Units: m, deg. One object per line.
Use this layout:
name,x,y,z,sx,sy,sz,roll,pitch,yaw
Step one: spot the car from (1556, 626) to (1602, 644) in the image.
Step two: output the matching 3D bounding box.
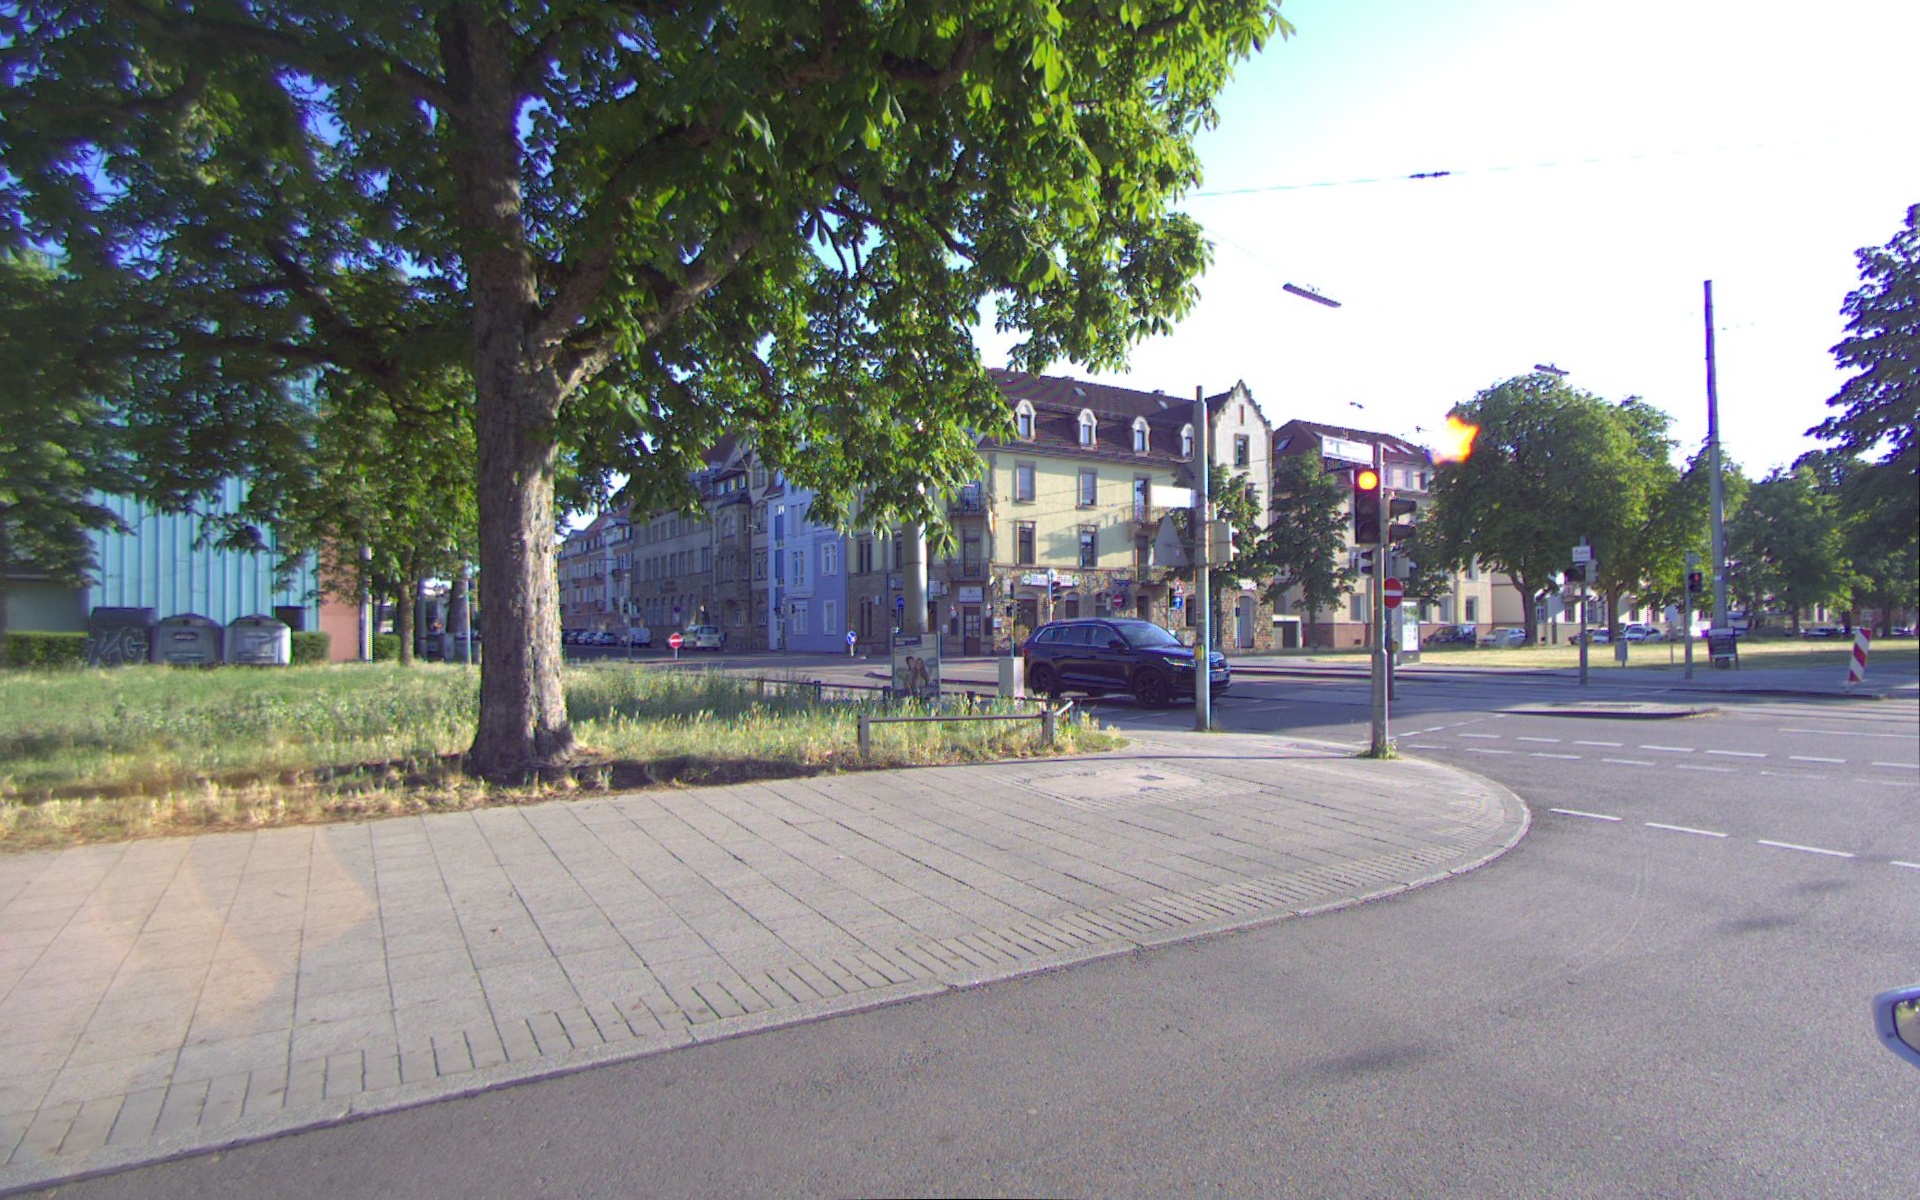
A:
car,52.005,2.909,84.359,3.749,1.446,1.729,1,-2,-31

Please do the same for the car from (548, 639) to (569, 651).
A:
car,-48.937,5.453,122.378,1.867,1.433,4.013,1,-2,-29

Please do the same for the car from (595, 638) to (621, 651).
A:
car,-36.434,4.596,103.874,1.867,1.299,4.013,1,-2,-29

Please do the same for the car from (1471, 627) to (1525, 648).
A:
car,40.820,2.799,76.240,3.741,1.446,1.733,-1,0,-26

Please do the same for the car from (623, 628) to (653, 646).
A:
car,-30.147,3.490,94.081,1.888,1.610,4.013,2,-2,-29

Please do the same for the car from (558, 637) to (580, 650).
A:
car,-45.905,5.114,117.872,1.867,1.433,4.013,1,-2,-29

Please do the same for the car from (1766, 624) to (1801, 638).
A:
car,86.183,3.230,105.111,3.749,1.446,1.729,1,-1,-31

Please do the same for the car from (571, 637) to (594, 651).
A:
car,-42.628,4.964,113.521,1.867,1.433,4.013,1,-2,-29

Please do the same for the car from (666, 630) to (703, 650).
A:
car,-22.799,3.319,83.114,2.074,1.612,4.014,2,-2,-29

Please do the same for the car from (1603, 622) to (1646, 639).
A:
car,57.491,2.621,86.879,3.749,1.446,1.729,1,-2,-31

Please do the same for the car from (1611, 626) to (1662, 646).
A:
car,51.232,2.708,76.058,3.748,1.446,1.729,-1,-1,-31

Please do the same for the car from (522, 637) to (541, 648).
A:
car,-57.570,5.681,134.904,1.867,1.433,4.013,1,-2,-29

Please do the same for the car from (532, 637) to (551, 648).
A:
car,-54.641,5.562,131.103,1.867,1.433,4.013,1,-2,-29

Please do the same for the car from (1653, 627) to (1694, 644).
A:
car,65.855,3.263,92.713,3.749,1.446,1.729,1,-2,-31

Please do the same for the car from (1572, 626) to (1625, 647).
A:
car,46.405,2.628,72.999,3.749,1.446,1.729,0,-1,-31

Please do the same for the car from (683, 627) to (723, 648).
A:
car,-20.117,2.923,78.396,2.074,1.612,4.014,2,-2,-29

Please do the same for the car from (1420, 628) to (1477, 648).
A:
car,35.442,2.748,72.873,3.741,1.416,1.733,1,-2,-26

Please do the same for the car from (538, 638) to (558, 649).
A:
car,-52.096,5.482,127.054,1.867,1.433,4.013,1,-2,-29

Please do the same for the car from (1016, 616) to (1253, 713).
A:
car,3.305,1.212,19.830,1.863,1.685,4.513,1,-3,-38

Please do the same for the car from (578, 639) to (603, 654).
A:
car,-39.891,4.996,108.393,1.867,1.433,4.013,1,-2,-29

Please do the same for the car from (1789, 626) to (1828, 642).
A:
car,80.220,3.206,94.957,3.749,1.446,1.729,1,-1,-31
